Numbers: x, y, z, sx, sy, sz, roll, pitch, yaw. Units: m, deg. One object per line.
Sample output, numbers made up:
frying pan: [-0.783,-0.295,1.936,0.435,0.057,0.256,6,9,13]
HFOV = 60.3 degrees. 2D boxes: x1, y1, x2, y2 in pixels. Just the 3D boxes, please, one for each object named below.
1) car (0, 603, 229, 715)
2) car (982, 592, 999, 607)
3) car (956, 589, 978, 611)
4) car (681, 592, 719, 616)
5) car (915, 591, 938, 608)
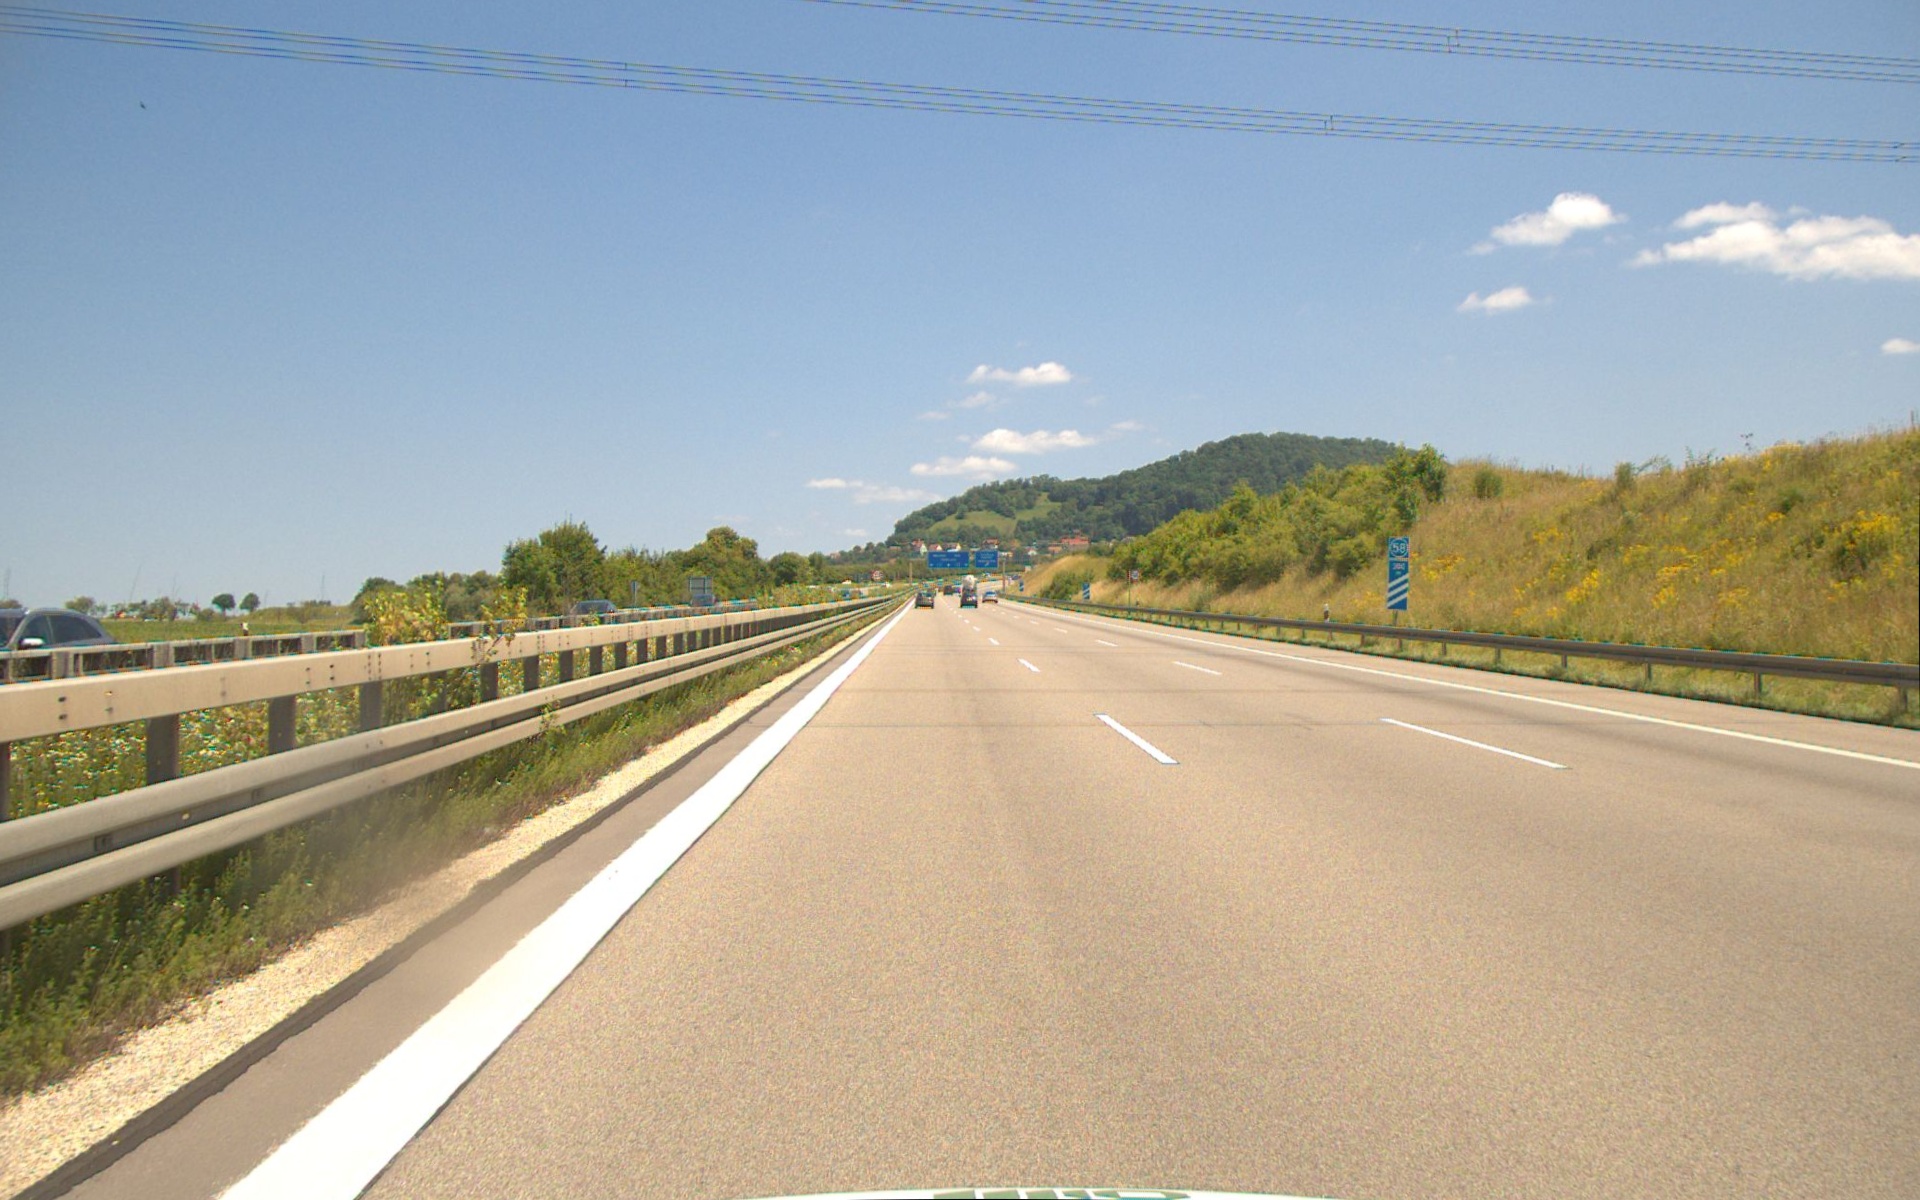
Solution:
car: [-12.895,0.833,25.344,1.601,1.490,4.000,-2,0,-1]
car: [3.807,-0.043,205.231,1.953,1.850,3.999,-1,0,-1]
car: [0.664,0.003,156.449,1.953,2.049,3.999,1,0,-1]
car: [-17.375,0.278,110.618,1.908,1.570,4.285,1,0,-1]
car: [-2.922,-0.046,144.975,1.953,1.413,3.999,1,0,-1]
